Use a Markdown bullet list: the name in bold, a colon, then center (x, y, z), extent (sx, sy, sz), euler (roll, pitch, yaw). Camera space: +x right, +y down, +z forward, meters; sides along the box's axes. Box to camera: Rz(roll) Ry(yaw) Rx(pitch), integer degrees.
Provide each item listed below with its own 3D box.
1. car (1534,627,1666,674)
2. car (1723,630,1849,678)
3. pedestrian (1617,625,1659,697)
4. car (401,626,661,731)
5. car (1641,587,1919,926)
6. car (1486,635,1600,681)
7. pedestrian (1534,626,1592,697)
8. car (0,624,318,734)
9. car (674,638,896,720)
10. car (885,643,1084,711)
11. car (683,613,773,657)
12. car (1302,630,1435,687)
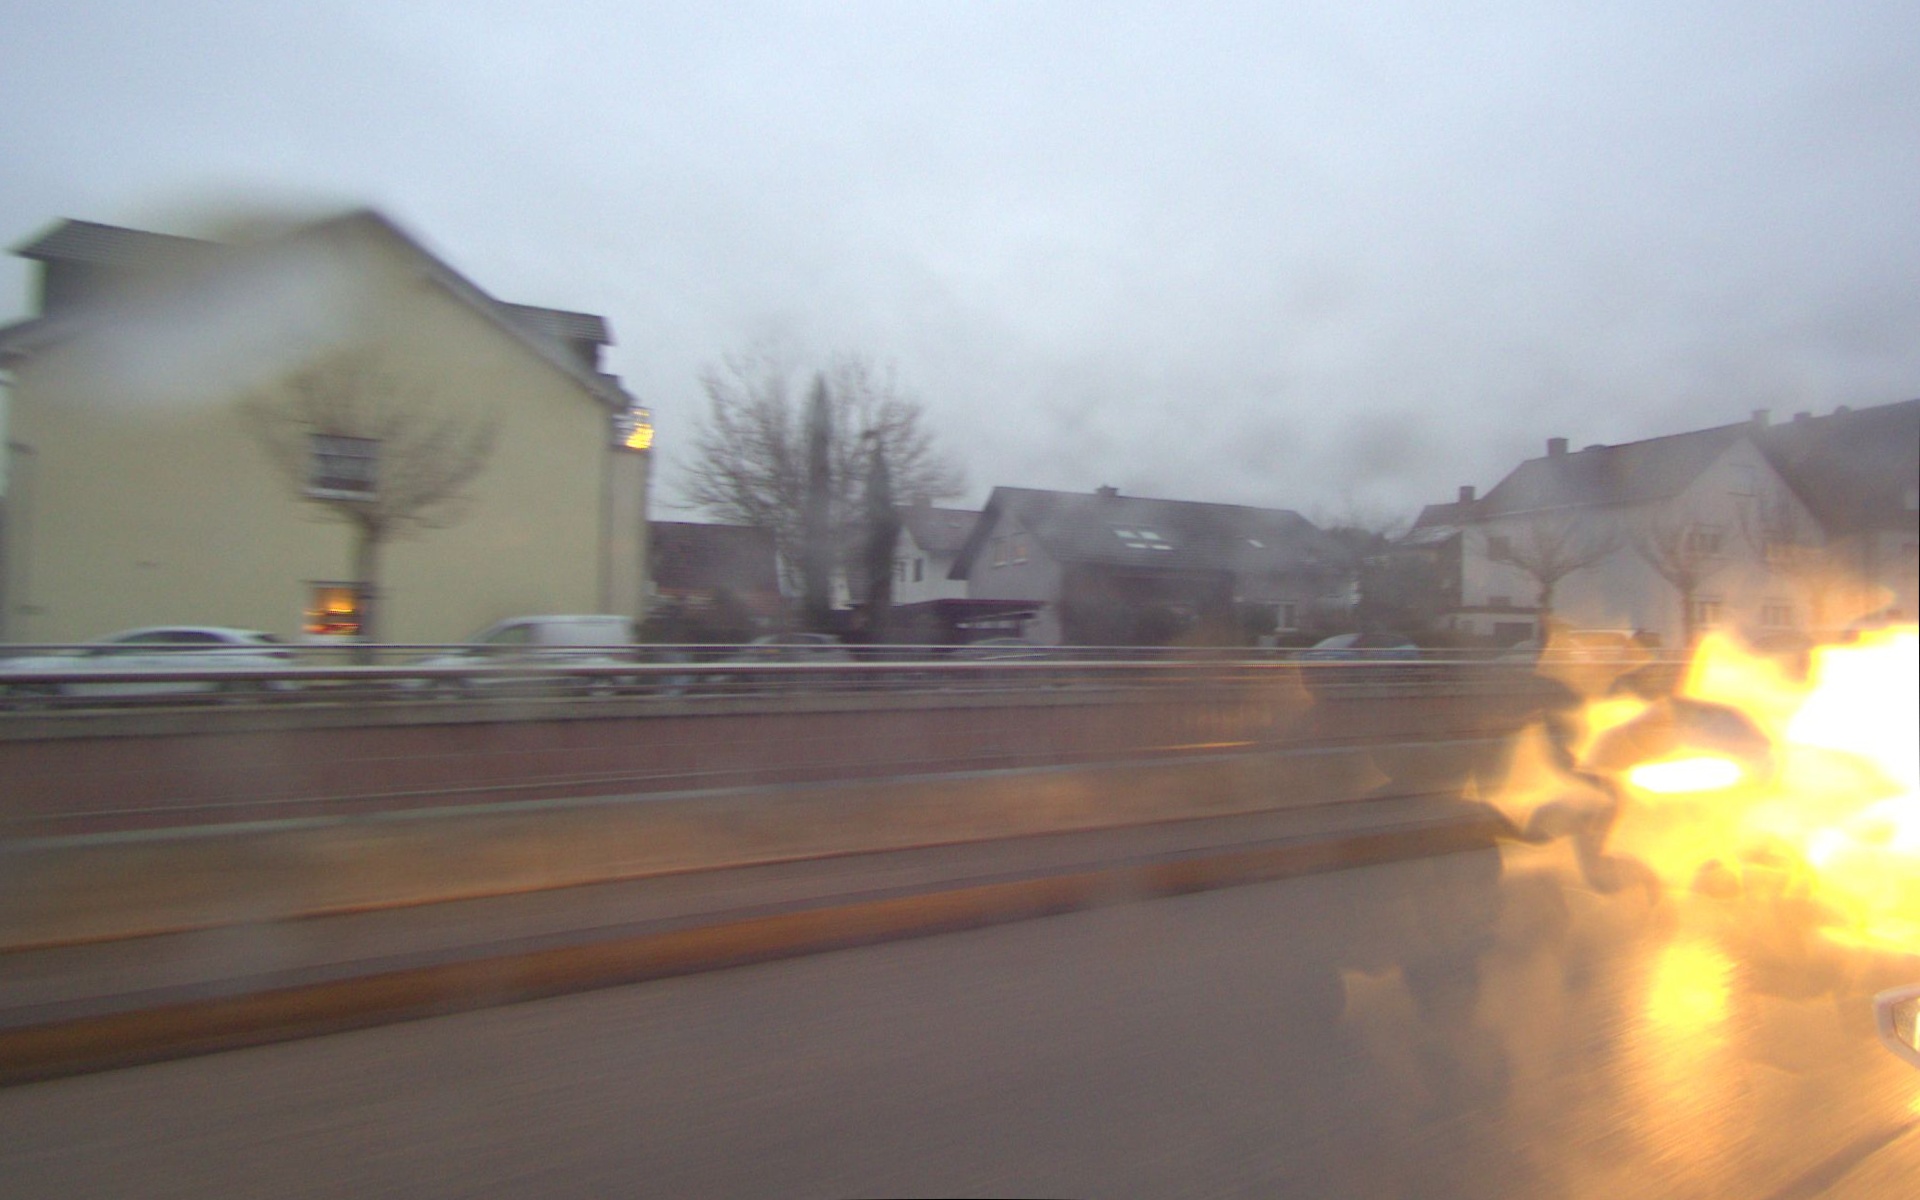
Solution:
- **car**: center (24.946, 1.966, 39.280), extent (1.839, 1.716, 3.977), euler (0, -3, -24)
- **car**: center (30.812, 1.981, 37.461), extent (4.157, 1.705, 1.907), euler (0, -2, -23)
- **pedestrian**: center (16.597, 1.485, 24.590), extent (0.533, 1.720, 0.662), euler (1, -1, -21)
- **car**: center (-8.261, 1.453, 19.442), extent (4.447, 1.802, 1.866), euler (1, -3, -30)
- **car**: center (5.982, 0.803, 6.200), extent (3.510, 1.657, 1.654), euler (1, -1, -31)
- **car**: center (18.989, 1.868, 32.693), extent (3.410, 1.446, 1.479), euler (1, -2, -23)
- **pedestrian**: center (15.799, 1.583, 26.322), extent (0.960, 1.808, 0.925), euler (1, -1, -24)
- **car**: center (-13.248, 1.256, 16.724), extent (4.174, 1.619, 1.866), euler (1, -3, -30)
- **car**: center (-3.808, 1.677, 21.971), extent (4.444, 1.593, 1.867), euler (0, -3, -28)
- **car**: center (0.602, 1.806, 24.157), extent (4.444, 1.452, 1.867), euler (0, -3, -28)
- **car**: center (-11.544, 1.752, 49.960), extent (3.952, 2.040, 1.985), euler (2, -1, -29)
- **car**: center (12.075, 1.739, 29.667), extent (3.772, 1.601, 1.559), euler (2, -4, -28)
